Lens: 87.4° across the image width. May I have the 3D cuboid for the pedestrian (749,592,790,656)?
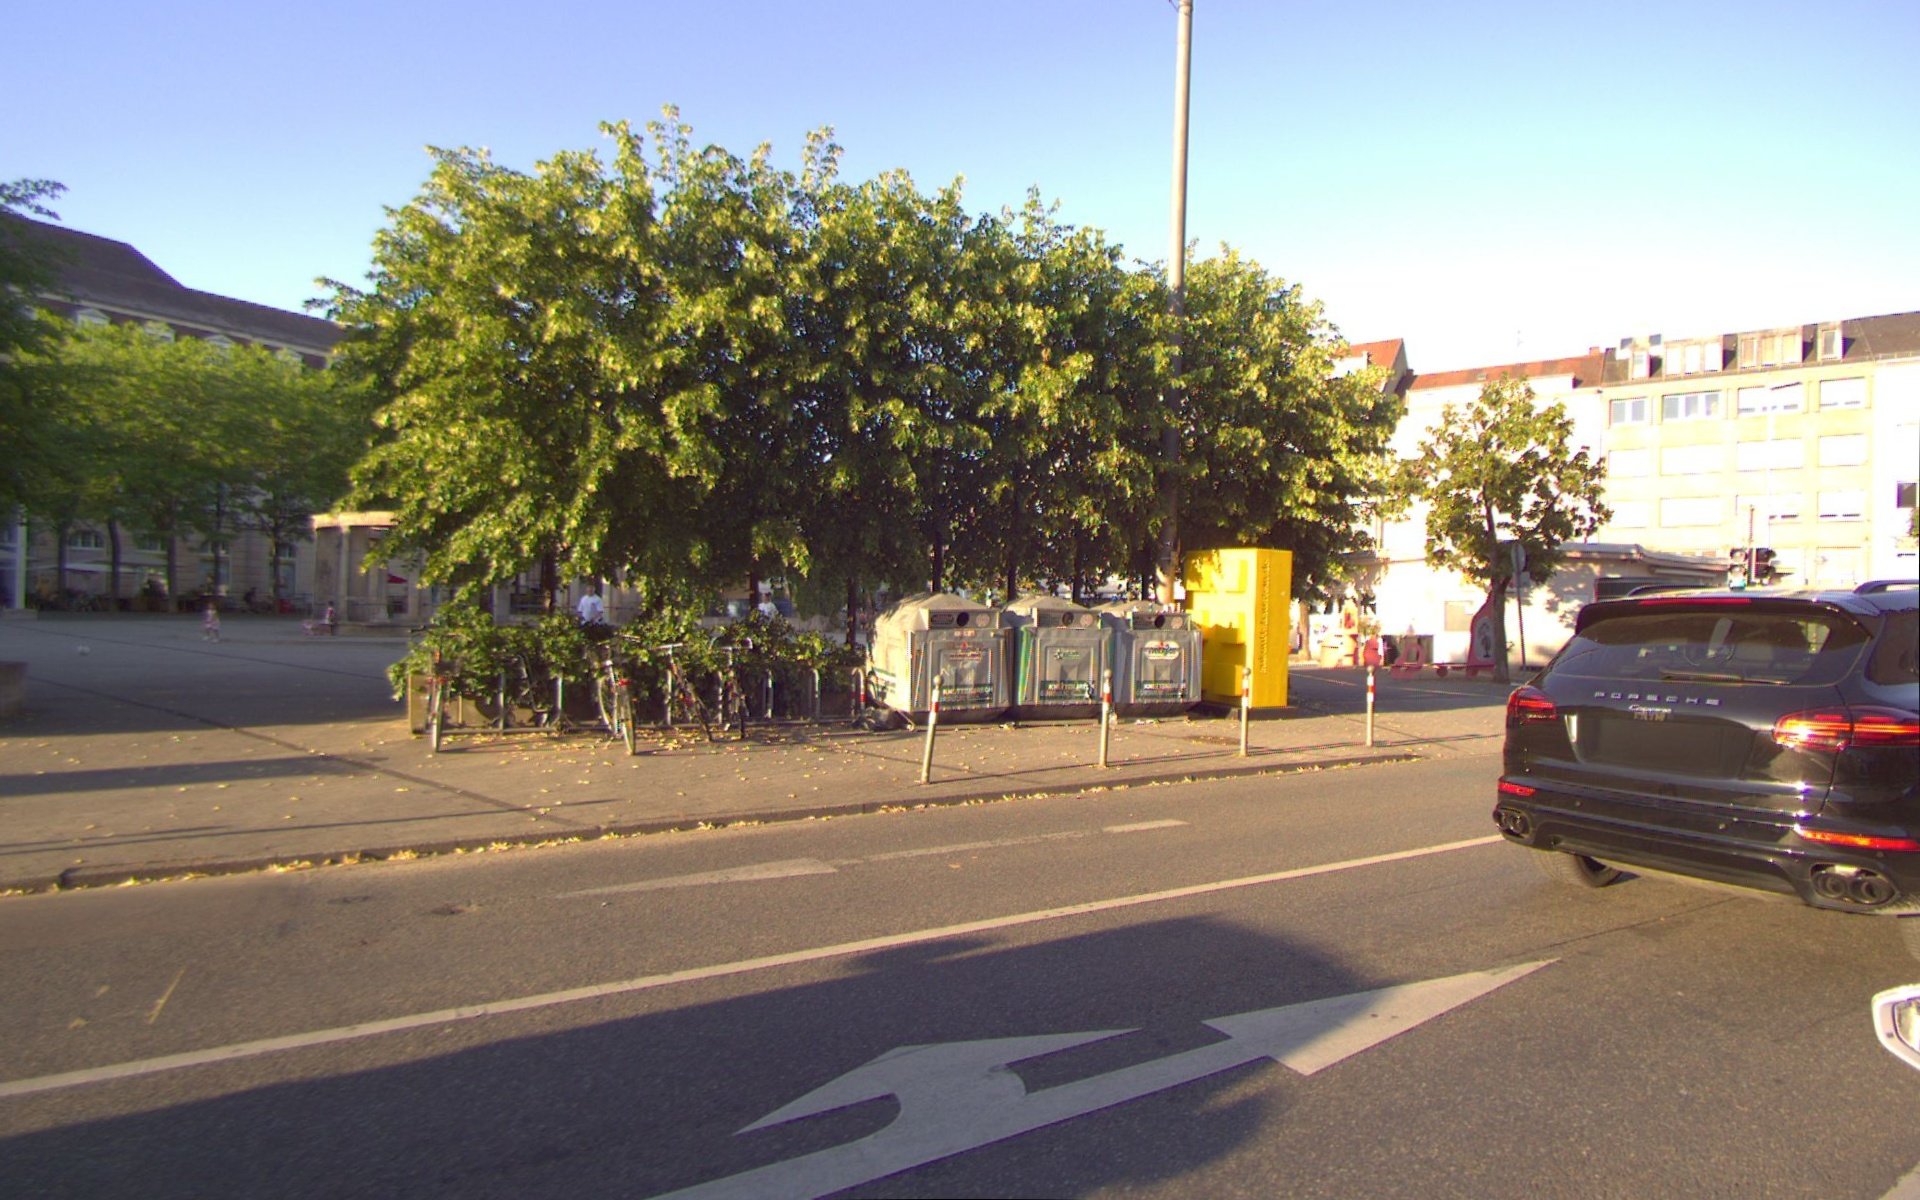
[{"bbox_3d":[-5.069,0.638,26.749,0.824,1.642,0.705,2,0,8],"label":"pedestrian"}]

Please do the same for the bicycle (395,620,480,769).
[{"bbox_3d":[-5.300,0.886,10.134,0.543,1.269,2.013,1,1,-33],"label":"bicycle"}]

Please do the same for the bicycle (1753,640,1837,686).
[{"bbox_3d":[25.095,1.872,30.218,0.625,1.273,1.846,2,-1,-28],"label":"bicycle"}]

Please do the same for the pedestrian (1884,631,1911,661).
[{"bbox_3d":[51.381,2.507,55.035,0.933,1.558,0.906,1,-1,35],"label":"pedestrian"}]

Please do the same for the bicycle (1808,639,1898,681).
[{"bbox_3d":[28.923,1.922,32.560,0.938,1.273,1.997,2,-1,-28],"label":"bicycle"}]

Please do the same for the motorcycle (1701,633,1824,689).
[{"bbox_3d":[22.581,1.684,28.328,0.857,1.448,2.570,2,-1,-28],"label":"motorcycle"}]

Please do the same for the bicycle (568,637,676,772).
[{"bbox_3d":[-3.531,1.018,10.384,0.543,1.150,2.013,1,1,-33],"label":"bicycle"}]

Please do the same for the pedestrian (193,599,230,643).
[{"bbox_3d":[-18.938,0.534,25.419,0.575,1.077,0.462,0,2,-1],"label":"pedestrian"}]

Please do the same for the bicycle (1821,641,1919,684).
[{"bbox_3d":[30.077,2.036,33.136,0.777,1.273,2.433,2,-1,-28],"label":"bicycle"}]

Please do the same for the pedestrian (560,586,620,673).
[{"bbox_3d":[-7.727,0.614,21.005,0.879,1.748,0.736,2,0,8],"label":"pedestrian"}]

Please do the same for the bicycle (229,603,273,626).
[{"bbox_3d":[-41.929,0.854,59.424,0.571,1.277,2.023,2,0,36],"label":"bicycle"}]

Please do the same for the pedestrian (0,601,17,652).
[{"bbox_3d":[-20.596,0.557,21.423,0.520,1.077,0.461,0,2,-10],"label":"pedestrian"}]

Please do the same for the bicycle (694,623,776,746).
[{"bbox_3d":[-2.662,0.947,11.762,0.440,1.269,1.578,1,1,-31],"label":"bicycle"}]

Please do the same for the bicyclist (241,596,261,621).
[{"bbox_3d":[-41.936,0.518,59.395,0.630,1.467,0.768,2,0,37],"label":"bicyclist"}]

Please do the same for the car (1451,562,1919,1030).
[{"bbox_3d":[5.062,0.788,5.685,4.507,1.737,1.940,1,-1,-30],"label":"car"}]

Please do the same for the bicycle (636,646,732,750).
[{"bbox_3d":[-3.148,1.064,11.362,0.543,0.992,1.663,1,1,-33],"label":"bicycle"}]

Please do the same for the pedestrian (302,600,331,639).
[{"bbox_3d":[-18.356,0.554,28.673,0.519,1.077,0.462,0,2,-1],"label":"pedestrian"}]
